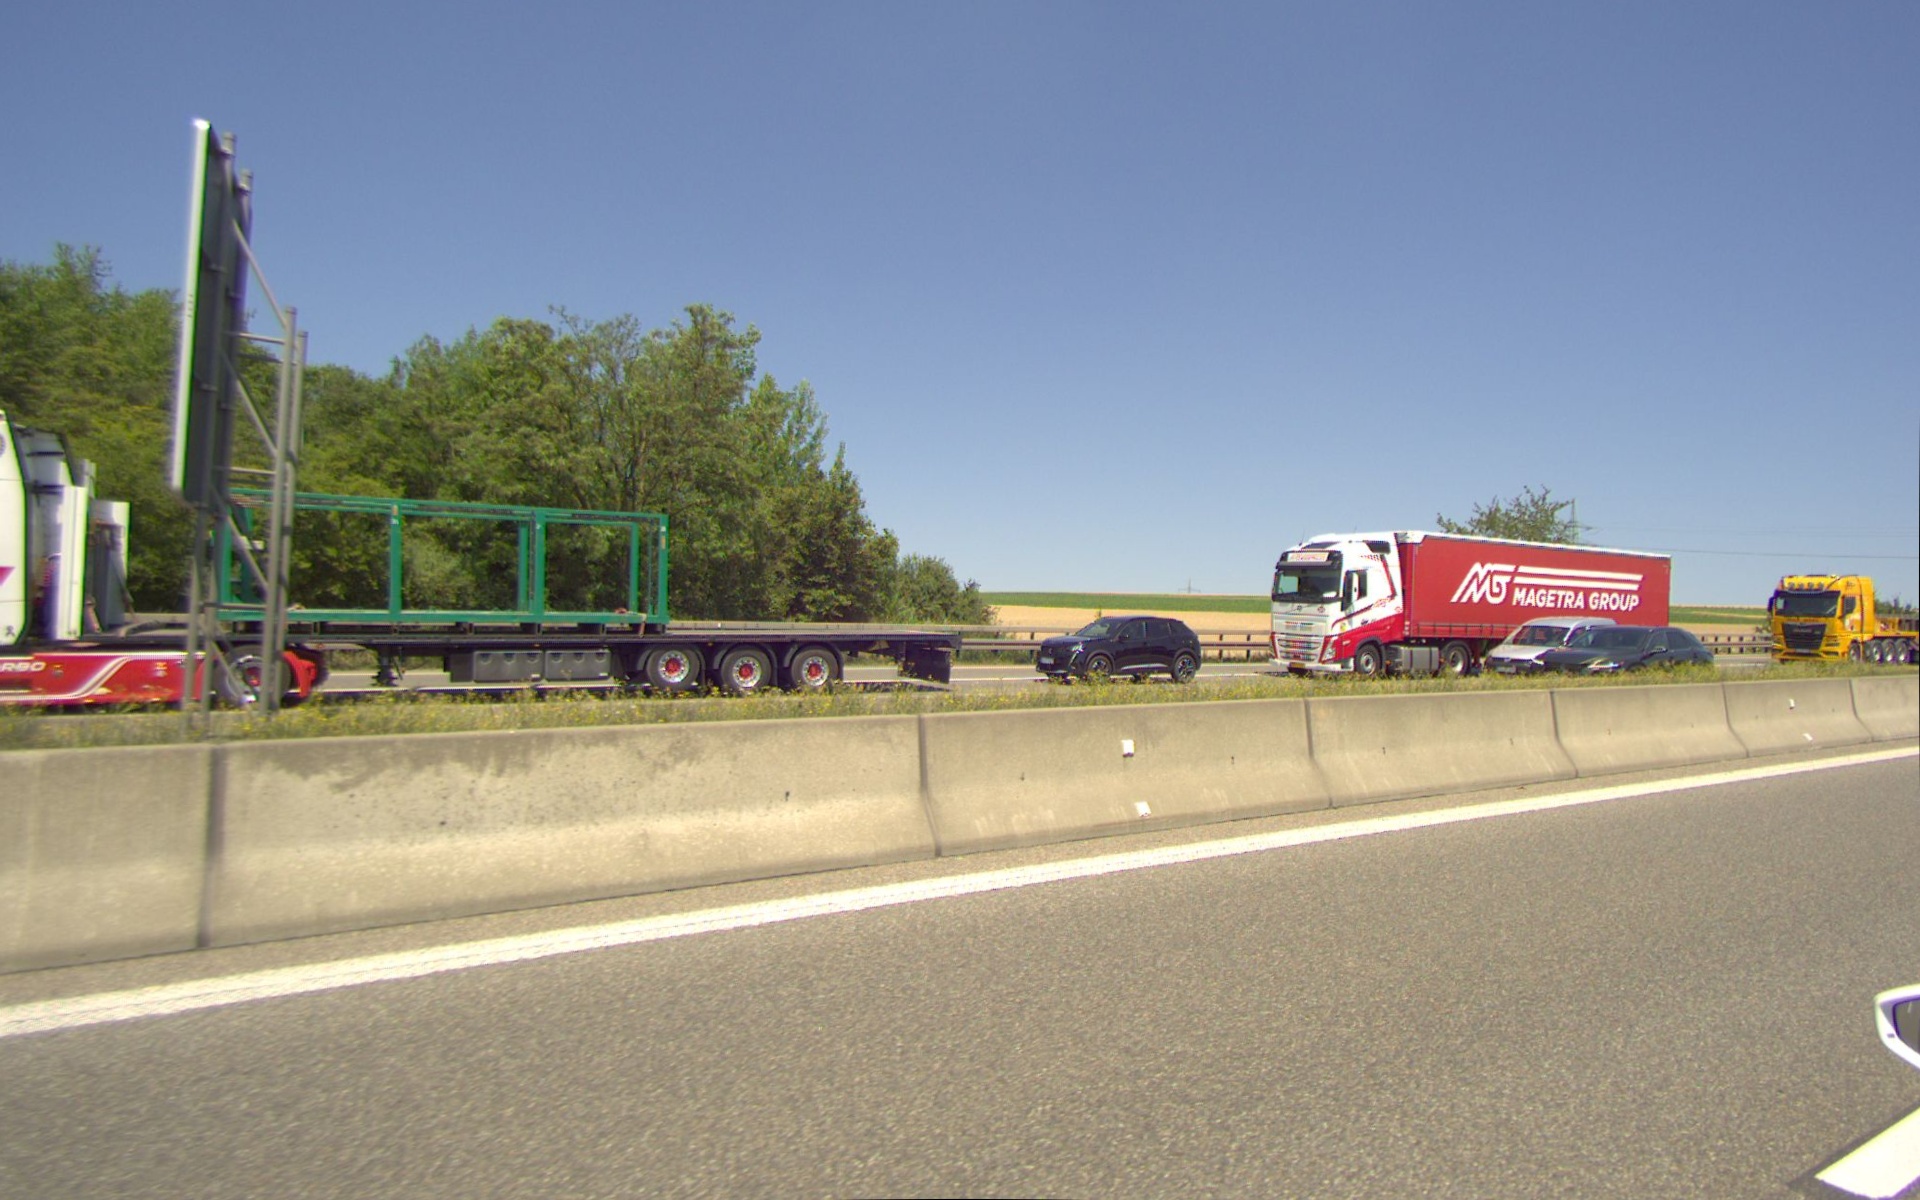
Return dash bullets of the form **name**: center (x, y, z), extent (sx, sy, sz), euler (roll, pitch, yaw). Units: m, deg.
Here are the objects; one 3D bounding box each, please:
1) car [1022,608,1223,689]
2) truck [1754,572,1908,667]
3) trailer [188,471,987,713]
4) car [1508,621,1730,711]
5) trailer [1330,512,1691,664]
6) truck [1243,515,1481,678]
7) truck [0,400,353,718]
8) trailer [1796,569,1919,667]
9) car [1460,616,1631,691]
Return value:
- **car**: center (3.876, 1.151, 23.719), extent (4.554, 1.652, 1.828), euler (4, -1, -32)
- **truck**: center (38.103, 0.847, 43.892), extent (7.009, 3.888, 2.740), euler (1, 0, -28)
- **trailer**: center (-5.618, 0.033, 17.970), extent (12.637, 3.248, 2.843), euler (2, 0, -31)
- **car**: center (14.476, 1.382, 21.973), extent (5.196, 1.718, 2.038), euler (2, 0, -32)
- **trailer**: center (18.062, -0.174, 32.251), extent (14.206, 4.155, 3.072), euler (1, 0, -29)
- **truck**: center (11.429, -0.028, 28.473), extent (6.239, 4.136, 3.021), euler (1, 0, -30)
- **truck**: center (-12.098, -0.504, 13.992), extent (6.107, 3.928, 2.886), euler (1, 0, -31)
- **trailer**: center (44.611, 0.853, 47.306), extent (14.200, 4.155, 2.941), euler (1, 0, -28)
- **car**: center (15.520, 1.373, 26.569), extent (4.709, 1.795, 1.903), euler (2, 0, -32)
